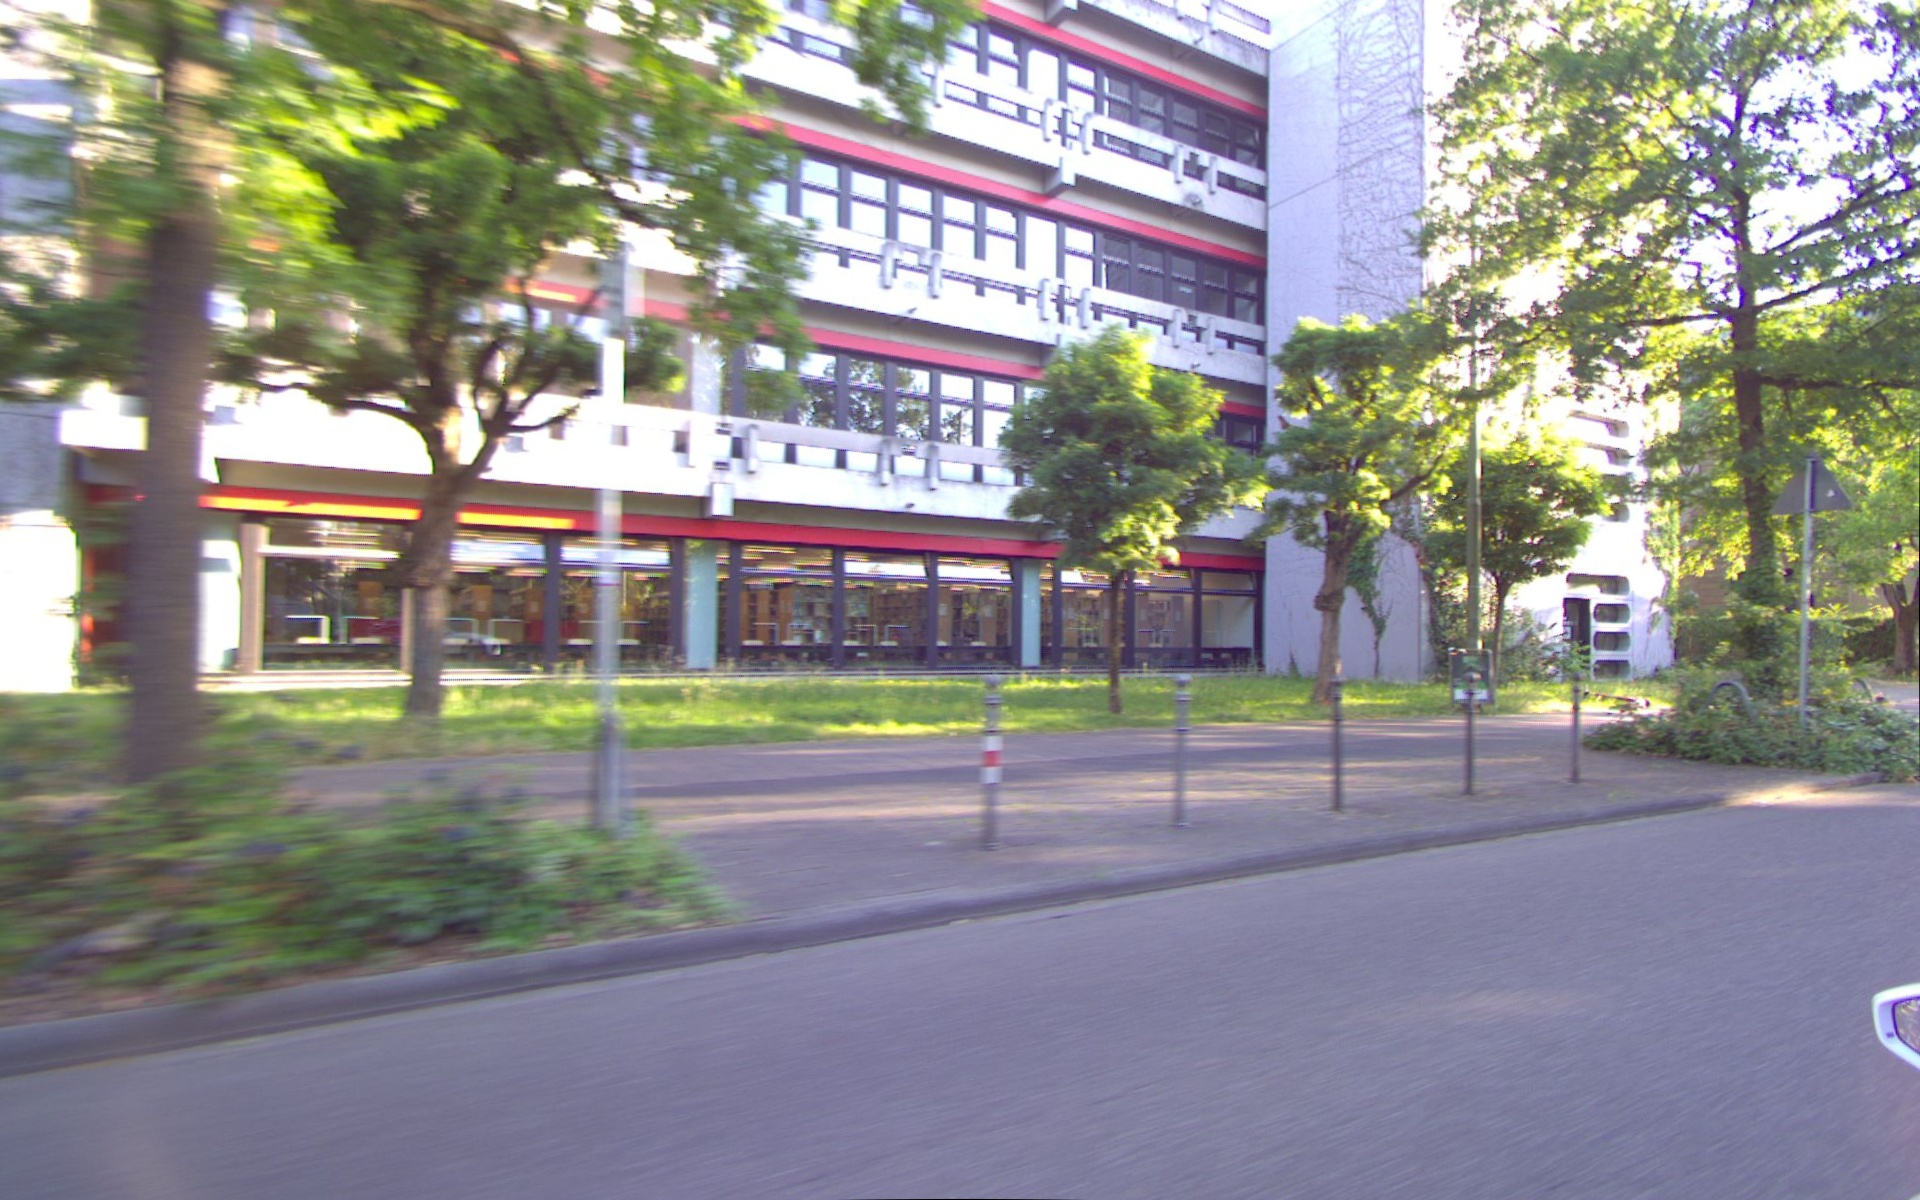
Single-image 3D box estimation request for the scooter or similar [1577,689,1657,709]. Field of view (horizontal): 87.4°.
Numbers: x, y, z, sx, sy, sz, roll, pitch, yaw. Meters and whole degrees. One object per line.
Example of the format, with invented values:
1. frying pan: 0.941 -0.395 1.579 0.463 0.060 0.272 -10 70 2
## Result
1. scooter or similar: 13.468 2.018 20.580 1.149 0.280 1.243 1 -1 45
